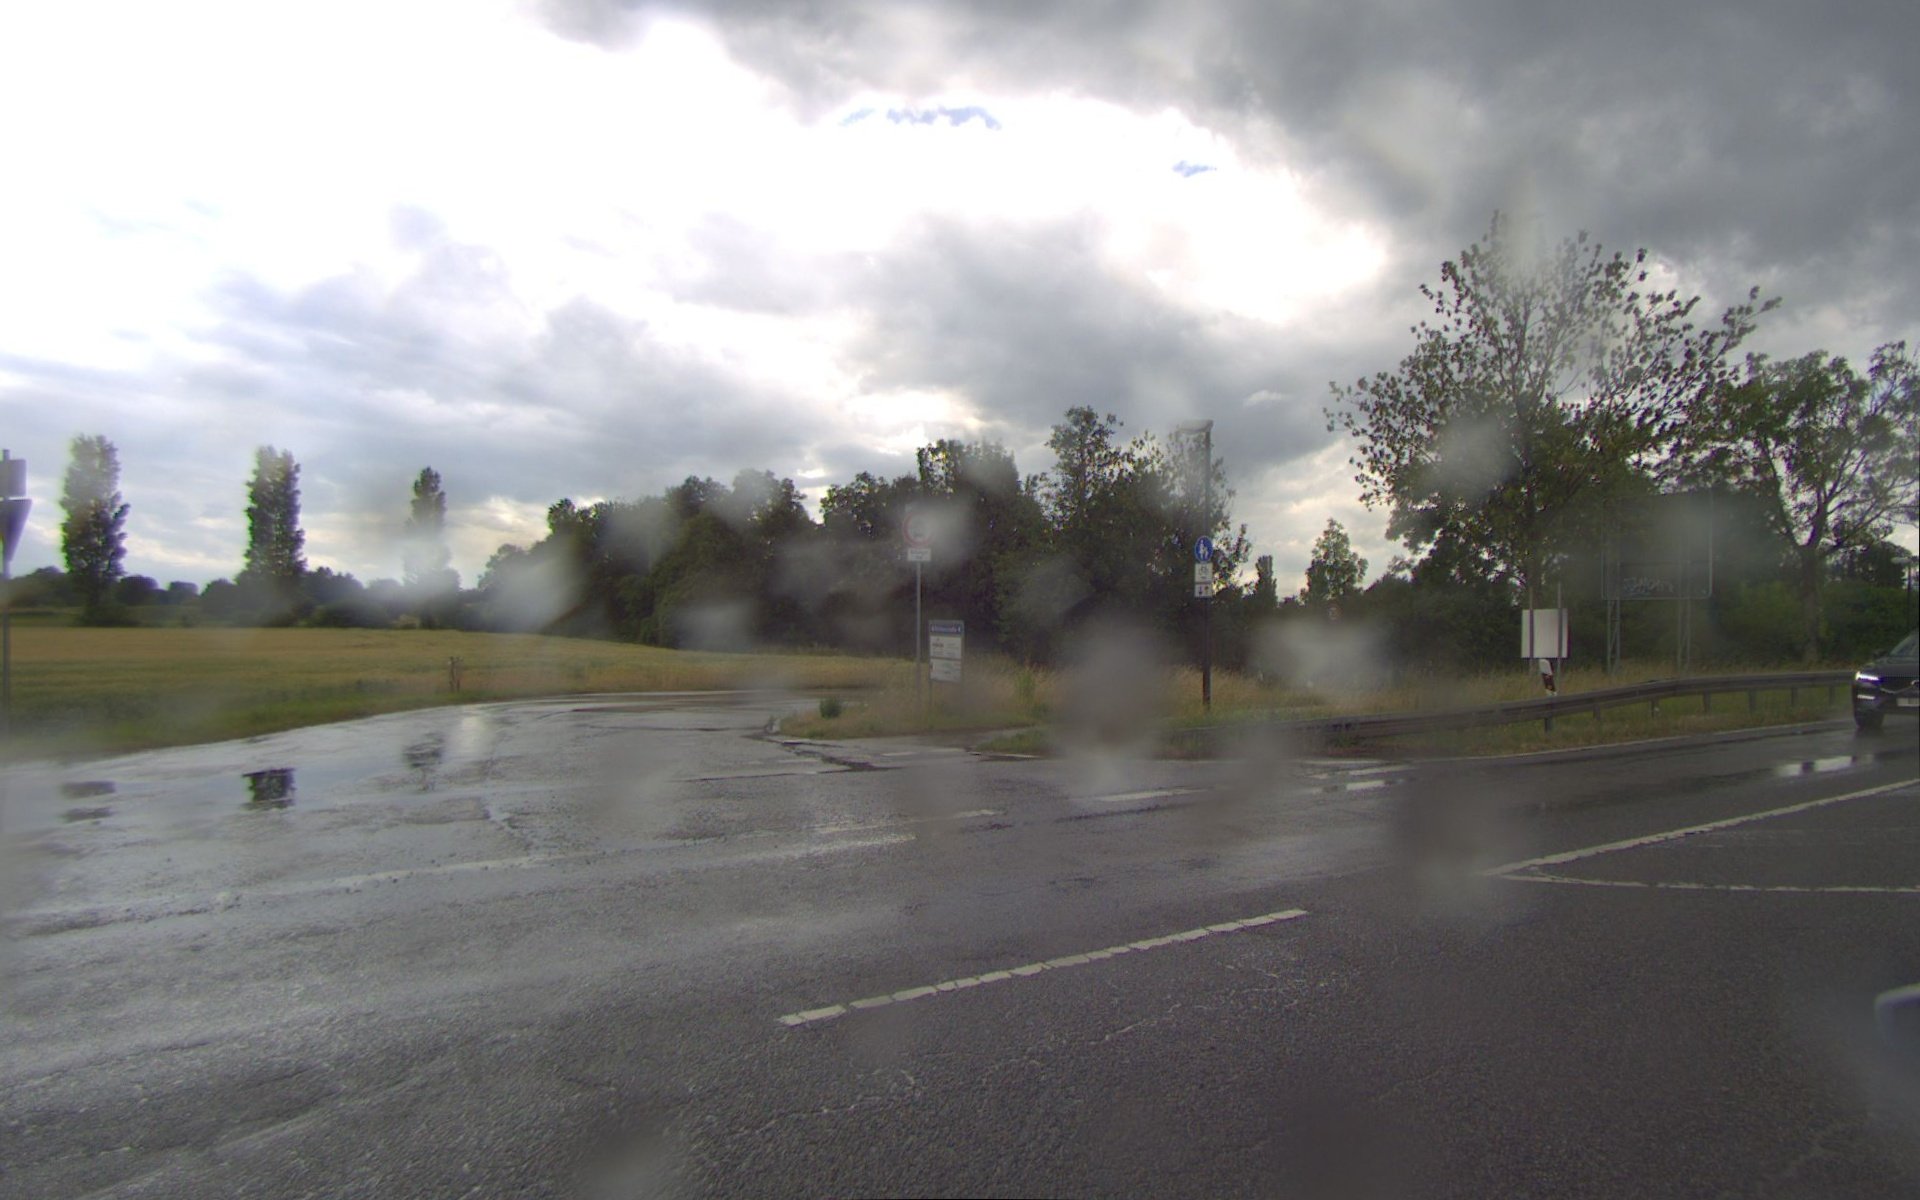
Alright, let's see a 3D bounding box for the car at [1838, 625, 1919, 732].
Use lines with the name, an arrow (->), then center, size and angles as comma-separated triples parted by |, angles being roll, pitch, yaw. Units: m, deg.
car -> 16.317, 1.221, 16.278 | 4.393, 1.601, 1.934 | 1, -3, -32
